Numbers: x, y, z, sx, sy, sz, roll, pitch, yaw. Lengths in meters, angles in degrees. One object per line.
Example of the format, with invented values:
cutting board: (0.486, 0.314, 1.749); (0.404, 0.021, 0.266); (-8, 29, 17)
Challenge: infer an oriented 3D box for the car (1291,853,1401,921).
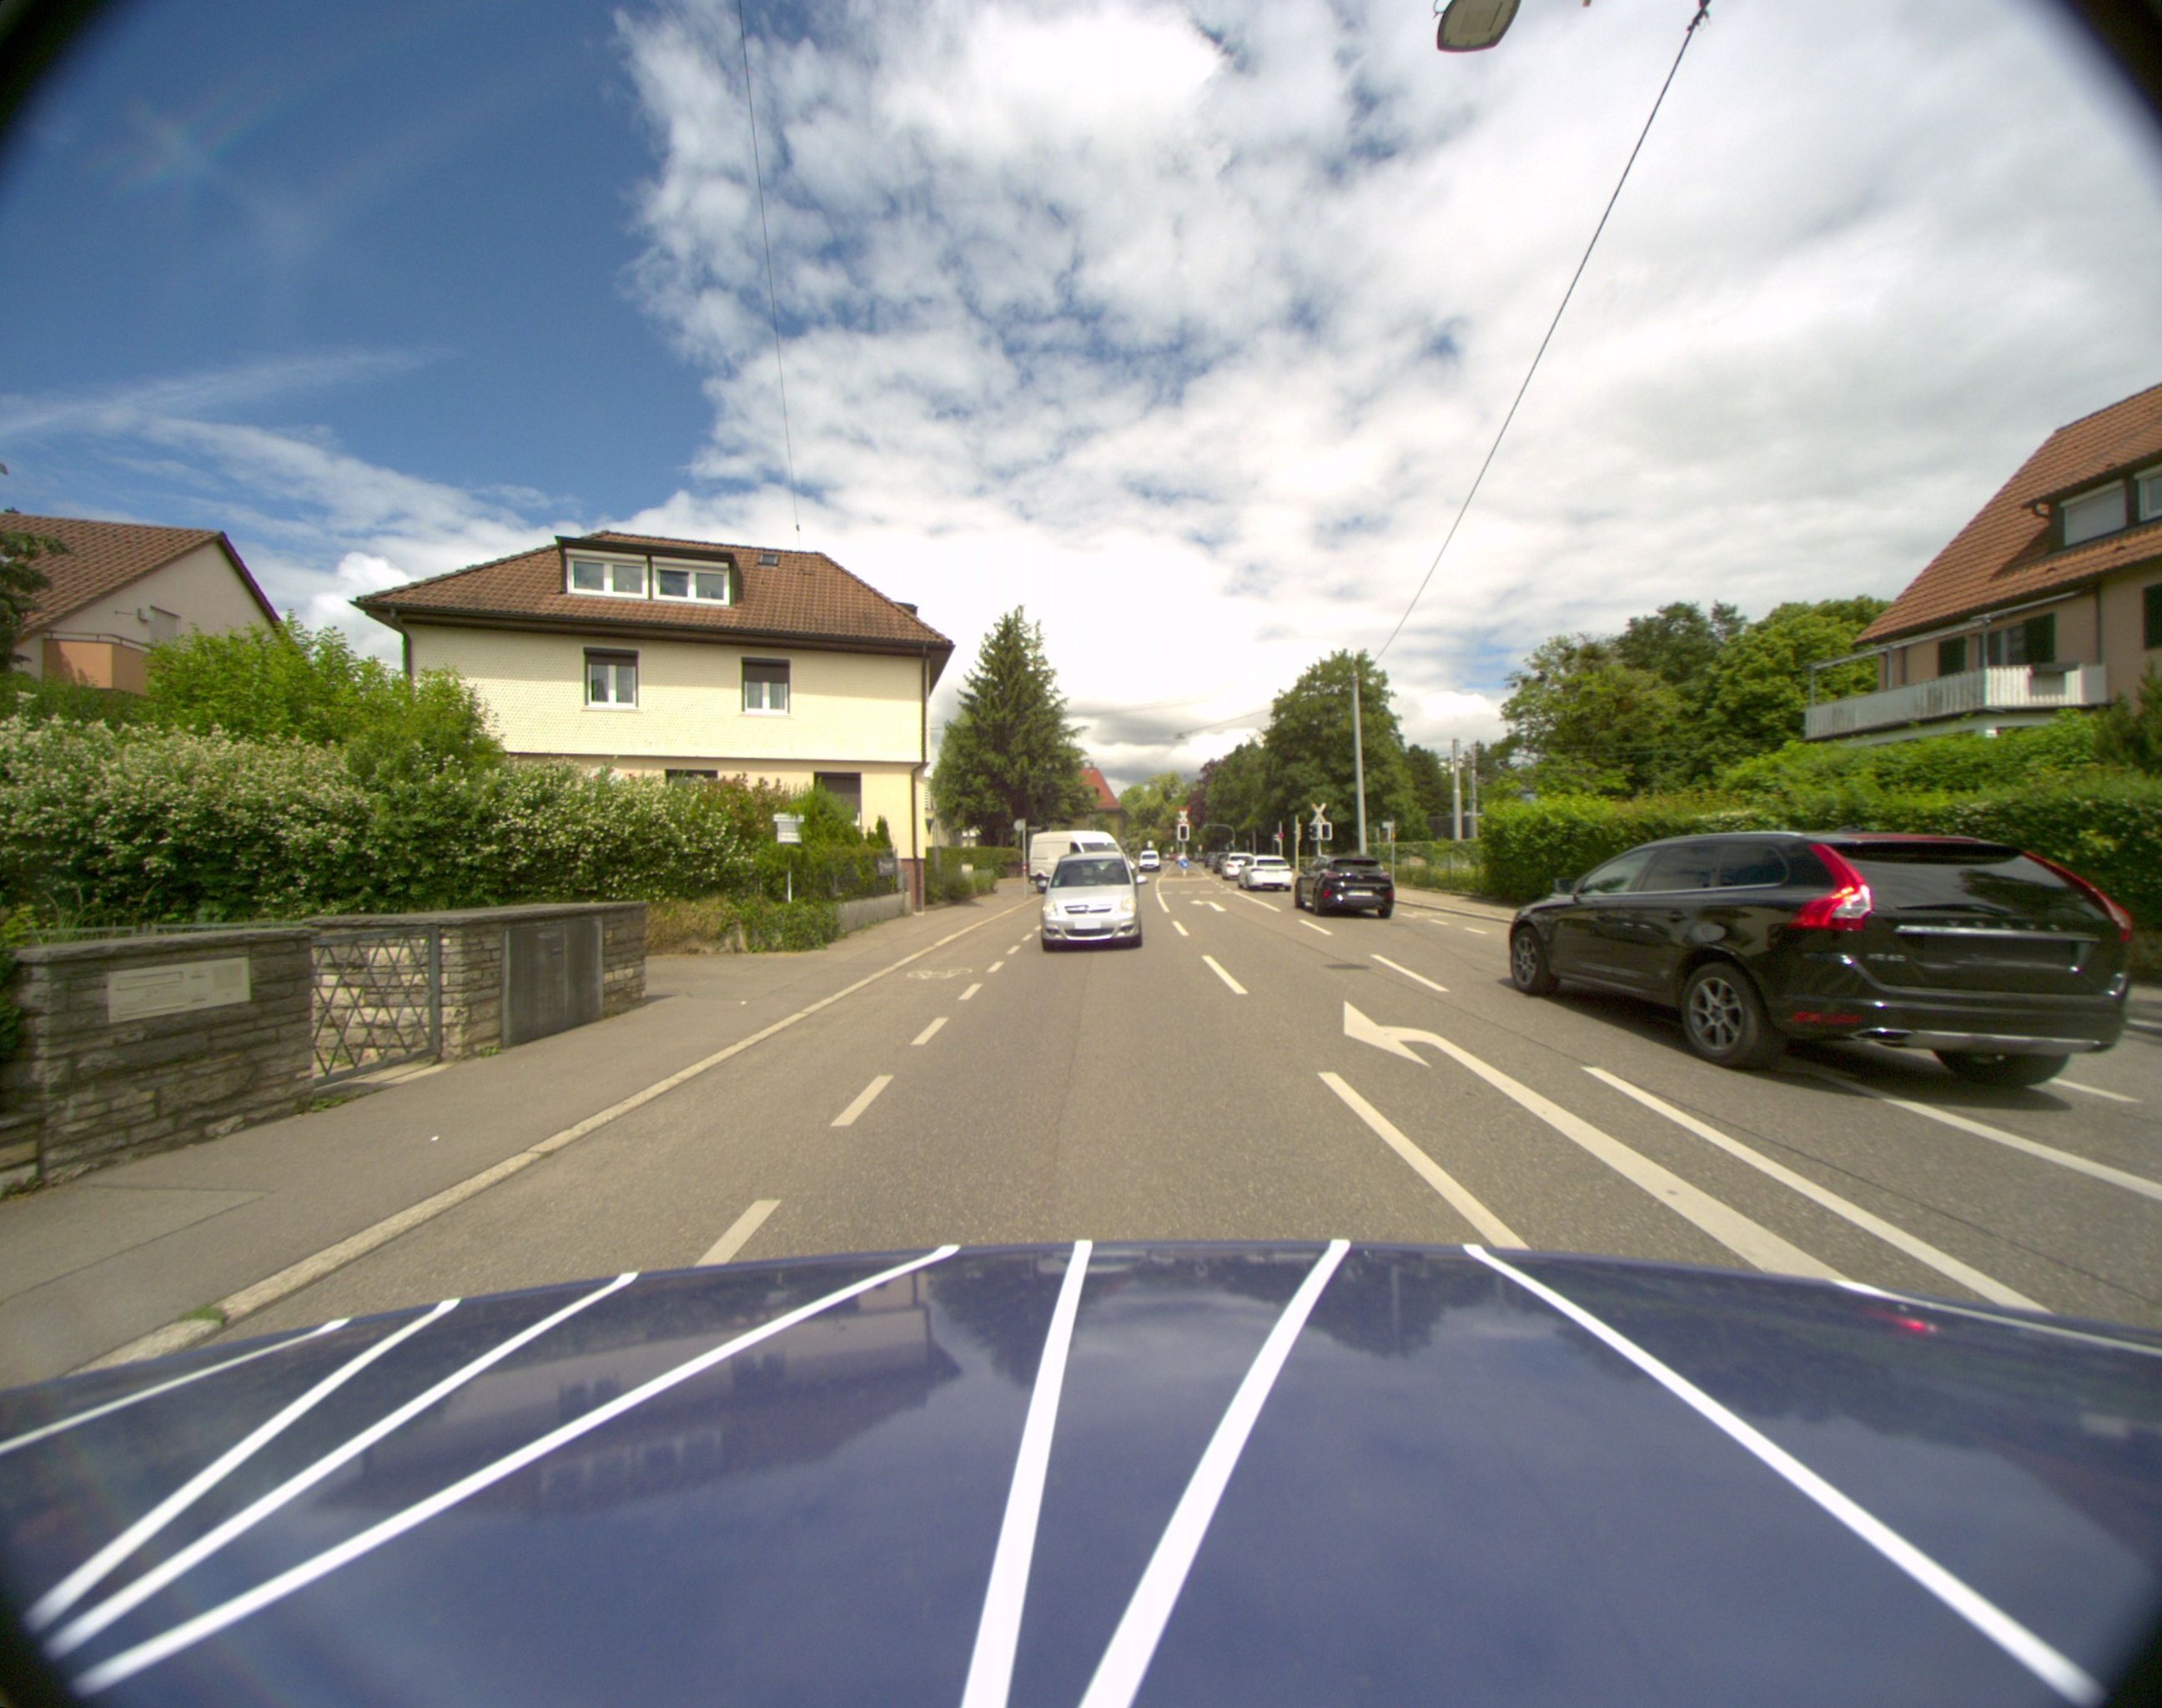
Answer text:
car: (6.593, 0.744, 19.350); (1.700, 1.448, 4.117); (1, 1, 6)

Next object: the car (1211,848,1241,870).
car: (11.206, 0.378, 58.914); (1.801, 1.583, 4.001); (-2, 0, 5)

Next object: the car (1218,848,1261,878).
car: (8.998, 0.475, 43.452); (1.851, 1.565, 4.160); (-1, 0, 5)

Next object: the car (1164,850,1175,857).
car: (17.466, -0.130, 149.692); (1.932, 1.412, 4.002); (-2, 0, 7)

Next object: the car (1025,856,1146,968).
car: (0.246, 0.849, 13.159); (1.707, 1.531, 4.332); (-2, 0, 5)

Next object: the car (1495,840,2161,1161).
car: (5.419, 0.780, 6.230); (1.920, 1.639, 4.295); (3, 1, 5)

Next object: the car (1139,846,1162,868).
car: (6.171, 0.261, 67.259); (1.932, 1.771, 4.001); (-2, 0, 5)

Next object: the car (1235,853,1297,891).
car: (7.654, 0.687, 31.782); (1.880, 1.467, 4.443); (0, 0, 5)

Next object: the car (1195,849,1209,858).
car: (18.691, -0.090, 117.910); (1.932, 1.412, 4.002); (-2, 0, 7)

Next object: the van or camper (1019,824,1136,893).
van or camper: (-0.305, 0.248, 31.624); (2.034, 2.564, 5.909); (-2, -1, -32)

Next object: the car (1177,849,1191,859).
car: (14.948, -0.003, 110.323); (1.932, 1.412, 4.002); (-2, 0, 7)

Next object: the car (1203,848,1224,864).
car: (13.690, 0.213, 78.902); (1.784, 1.576, 4.001); (-1, 0, 5)
